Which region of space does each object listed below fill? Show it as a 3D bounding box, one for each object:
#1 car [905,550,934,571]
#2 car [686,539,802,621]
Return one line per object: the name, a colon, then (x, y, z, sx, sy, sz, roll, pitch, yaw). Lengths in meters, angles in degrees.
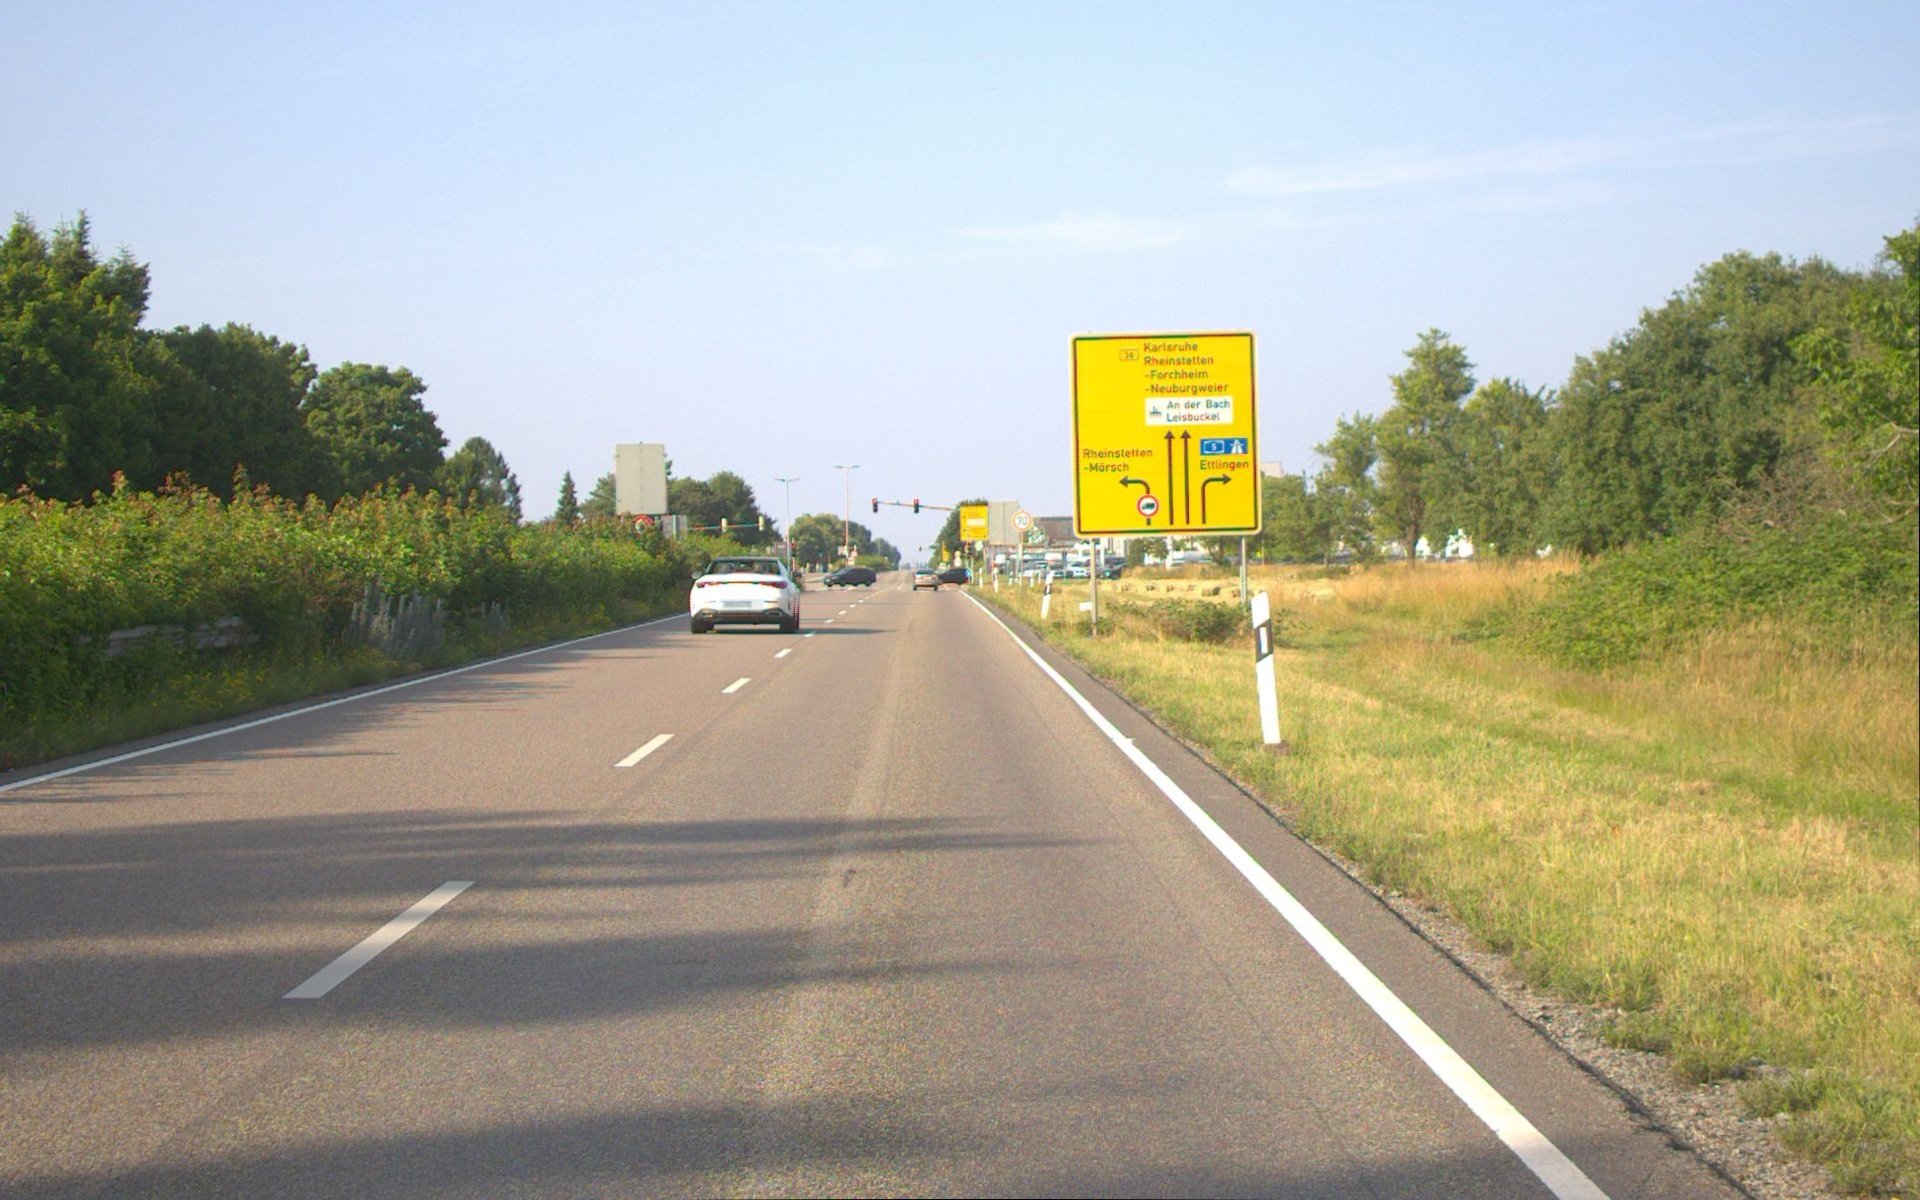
car: (-2.835, -2.786, 242.528, 1.993, 1.481, 4.000, 0, 1, -1)
car: (-3.864, -0.382, 62.040, 1.909, 1.417, 4.000, 0, 1, -1)
